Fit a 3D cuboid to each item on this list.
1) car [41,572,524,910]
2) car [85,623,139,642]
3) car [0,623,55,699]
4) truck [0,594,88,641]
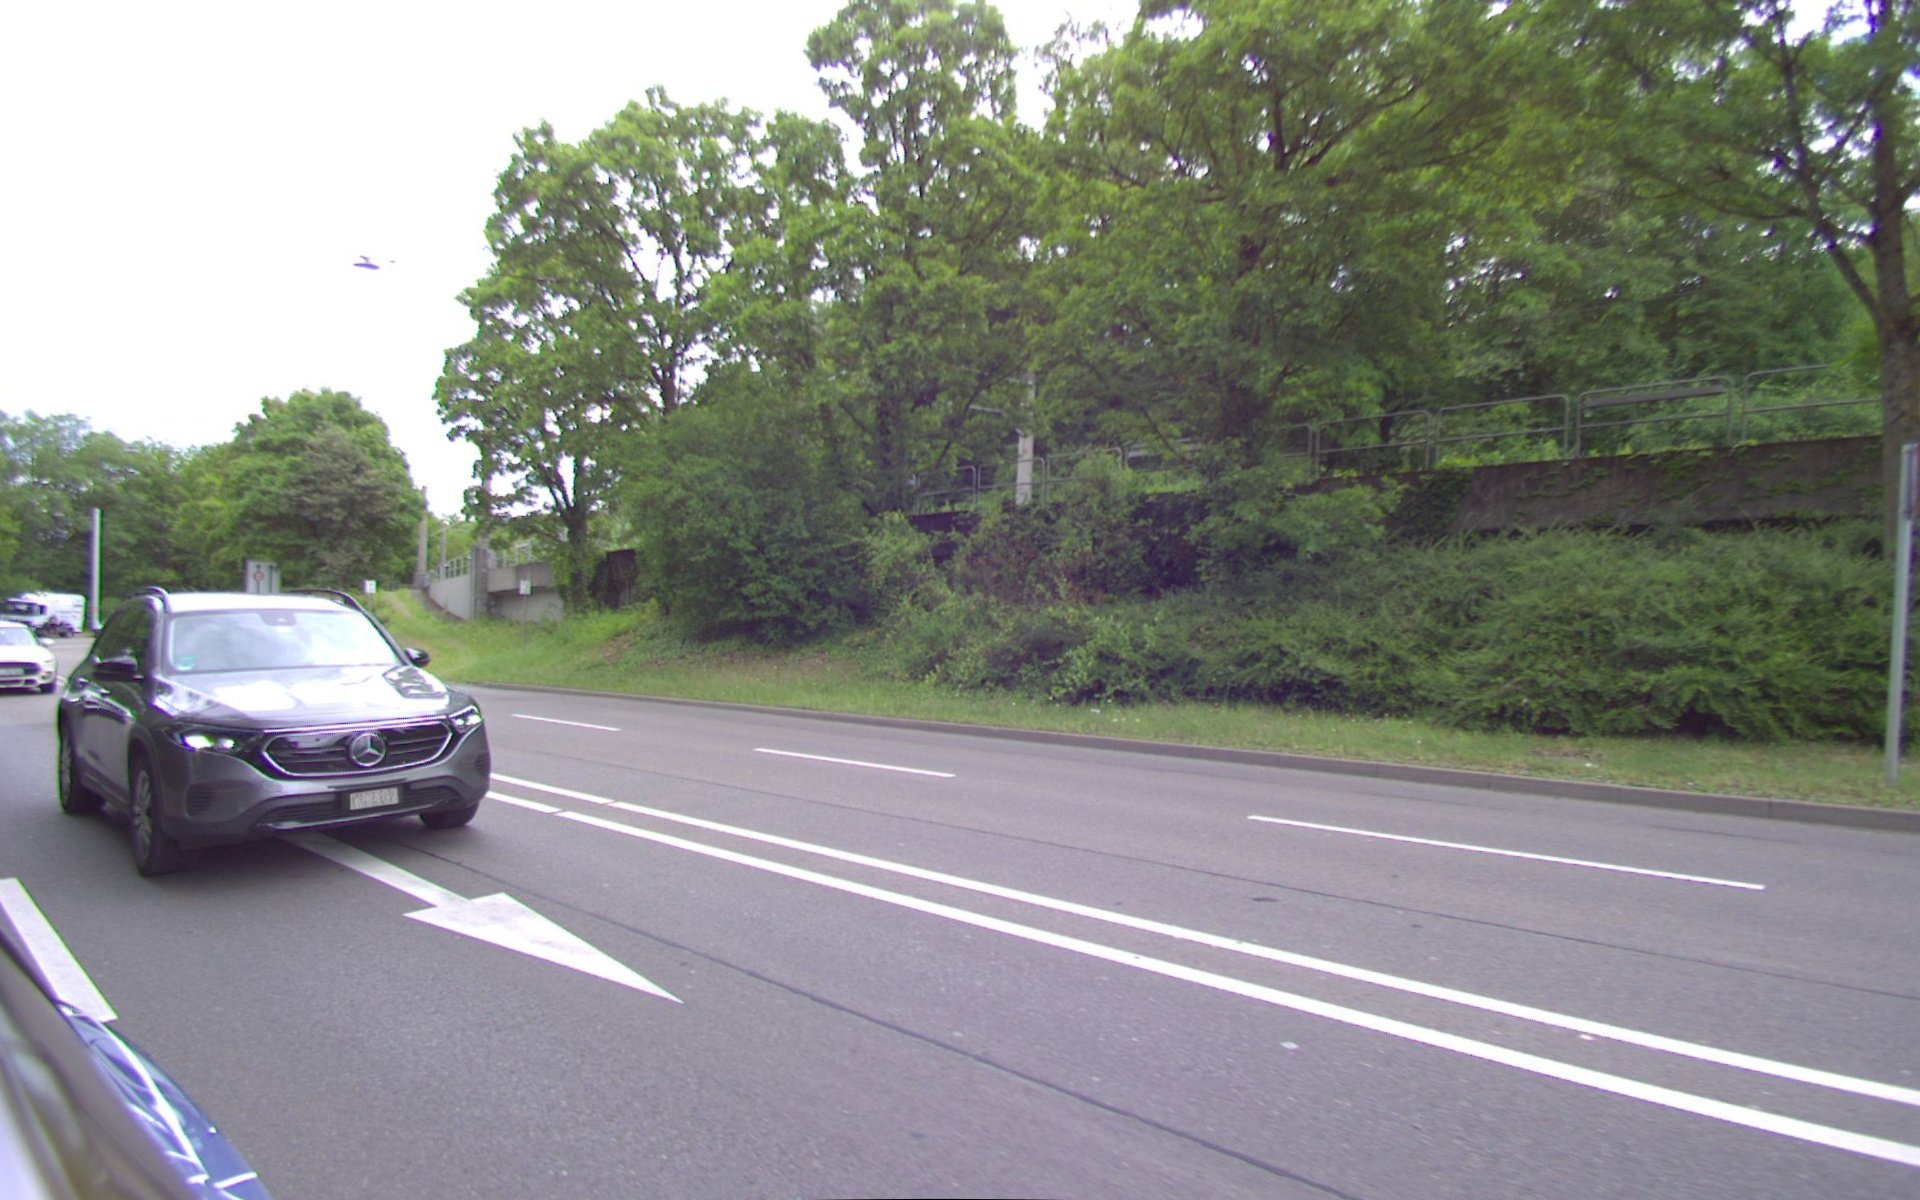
[{"bbox_3d":[-4.958,0.738,7.138,4.356,1.664,1.830,-1,-1,42],"label":"car"},{"bbox_3d":[-68.392,2.618,81.681,1.727,1.372,4.021,4,-4,-15],"label":"car"},{"bbox_3d":[-19.589,1.196,20.339,3.731,1.435,1.666,-1,-1,42],"label":"car"},{"bbox_3d":[-65.832,1.342,72.650,2.164,3.180,6.670,2,-3,-16],"label":"truck"}]
